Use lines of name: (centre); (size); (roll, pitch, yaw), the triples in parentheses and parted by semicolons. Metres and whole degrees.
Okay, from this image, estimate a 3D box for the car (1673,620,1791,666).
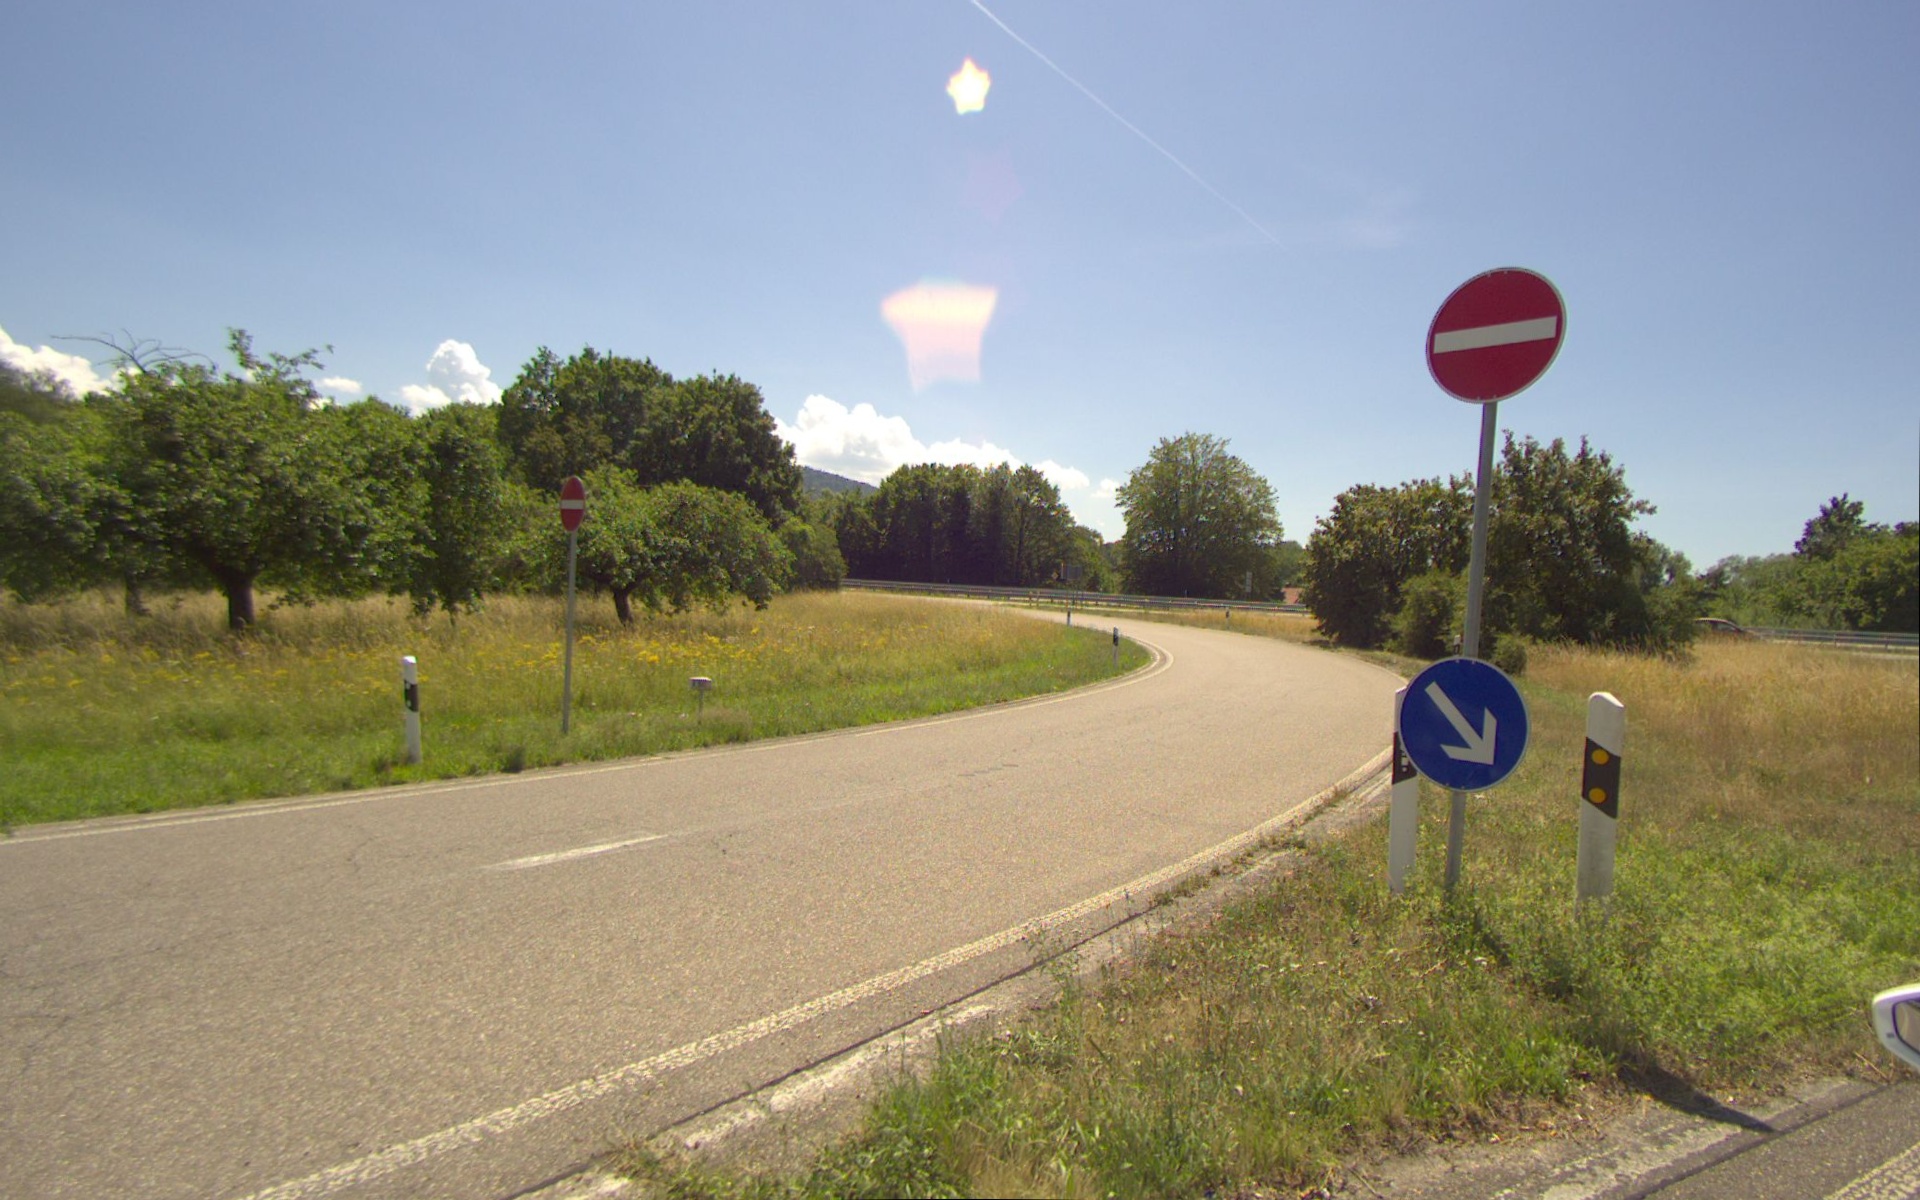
car: (38.321, 2.123, 49.918); (4.459, 1.813, 1.991); (5, 1, 39)
